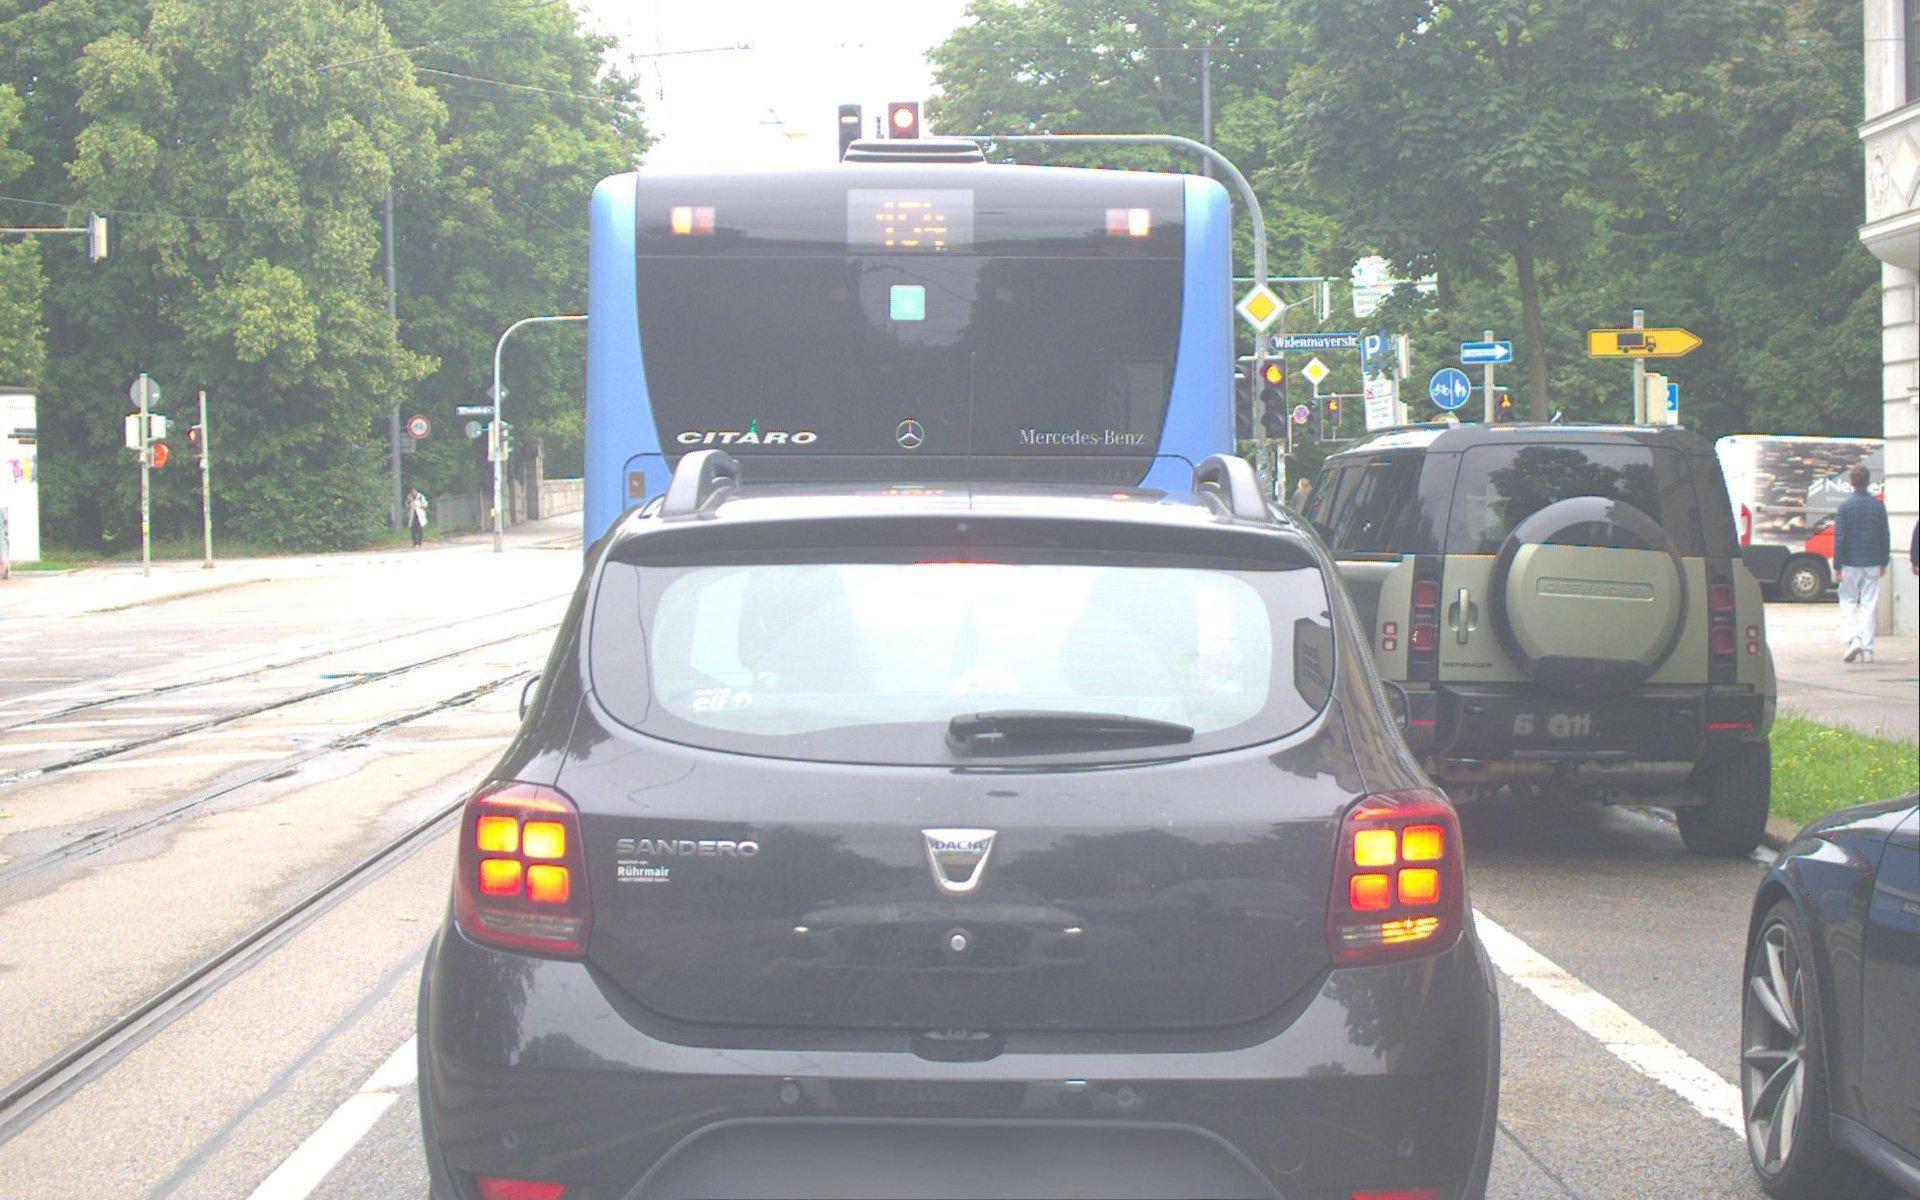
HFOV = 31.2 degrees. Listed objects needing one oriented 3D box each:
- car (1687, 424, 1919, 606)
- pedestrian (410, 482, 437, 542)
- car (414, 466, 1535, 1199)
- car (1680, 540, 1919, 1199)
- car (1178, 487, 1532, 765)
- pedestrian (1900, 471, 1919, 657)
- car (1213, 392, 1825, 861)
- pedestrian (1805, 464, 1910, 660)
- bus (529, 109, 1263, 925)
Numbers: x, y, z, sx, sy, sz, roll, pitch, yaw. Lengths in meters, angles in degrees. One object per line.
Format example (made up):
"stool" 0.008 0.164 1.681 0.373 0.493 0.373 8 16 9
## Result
"car" 13.825 -1.246 51.460 5.295 2.603 2.231 1 1 -3
"pedestrian" -13.577 -2.216 86.949 0.532 1.496 0.588 1 1 4
"car" -0.018 0.563 6.740 1.600 1.551 3.525 1 1 -1
"car" 2.643 0.631 5.936 1.716 1.421 4.603 1 1 -1
"car" 2.439 0.109 22.186 1.714 1.586 4.327 1 1 -1
"pedestrian" 9.258 -0.331 32.065 0.705 1.726 0.843 1 1 -1
"car" 2.487 0.064 16.580 1.914 1.899 4.809 1 1 -3
"pedestrian" 8.469 -0.362 32.466 0.705 1.810 0.870 1 1 -1
"bus" -0.382 -0.371 16.295 2.678 2.987 6.962 1 1 -2
